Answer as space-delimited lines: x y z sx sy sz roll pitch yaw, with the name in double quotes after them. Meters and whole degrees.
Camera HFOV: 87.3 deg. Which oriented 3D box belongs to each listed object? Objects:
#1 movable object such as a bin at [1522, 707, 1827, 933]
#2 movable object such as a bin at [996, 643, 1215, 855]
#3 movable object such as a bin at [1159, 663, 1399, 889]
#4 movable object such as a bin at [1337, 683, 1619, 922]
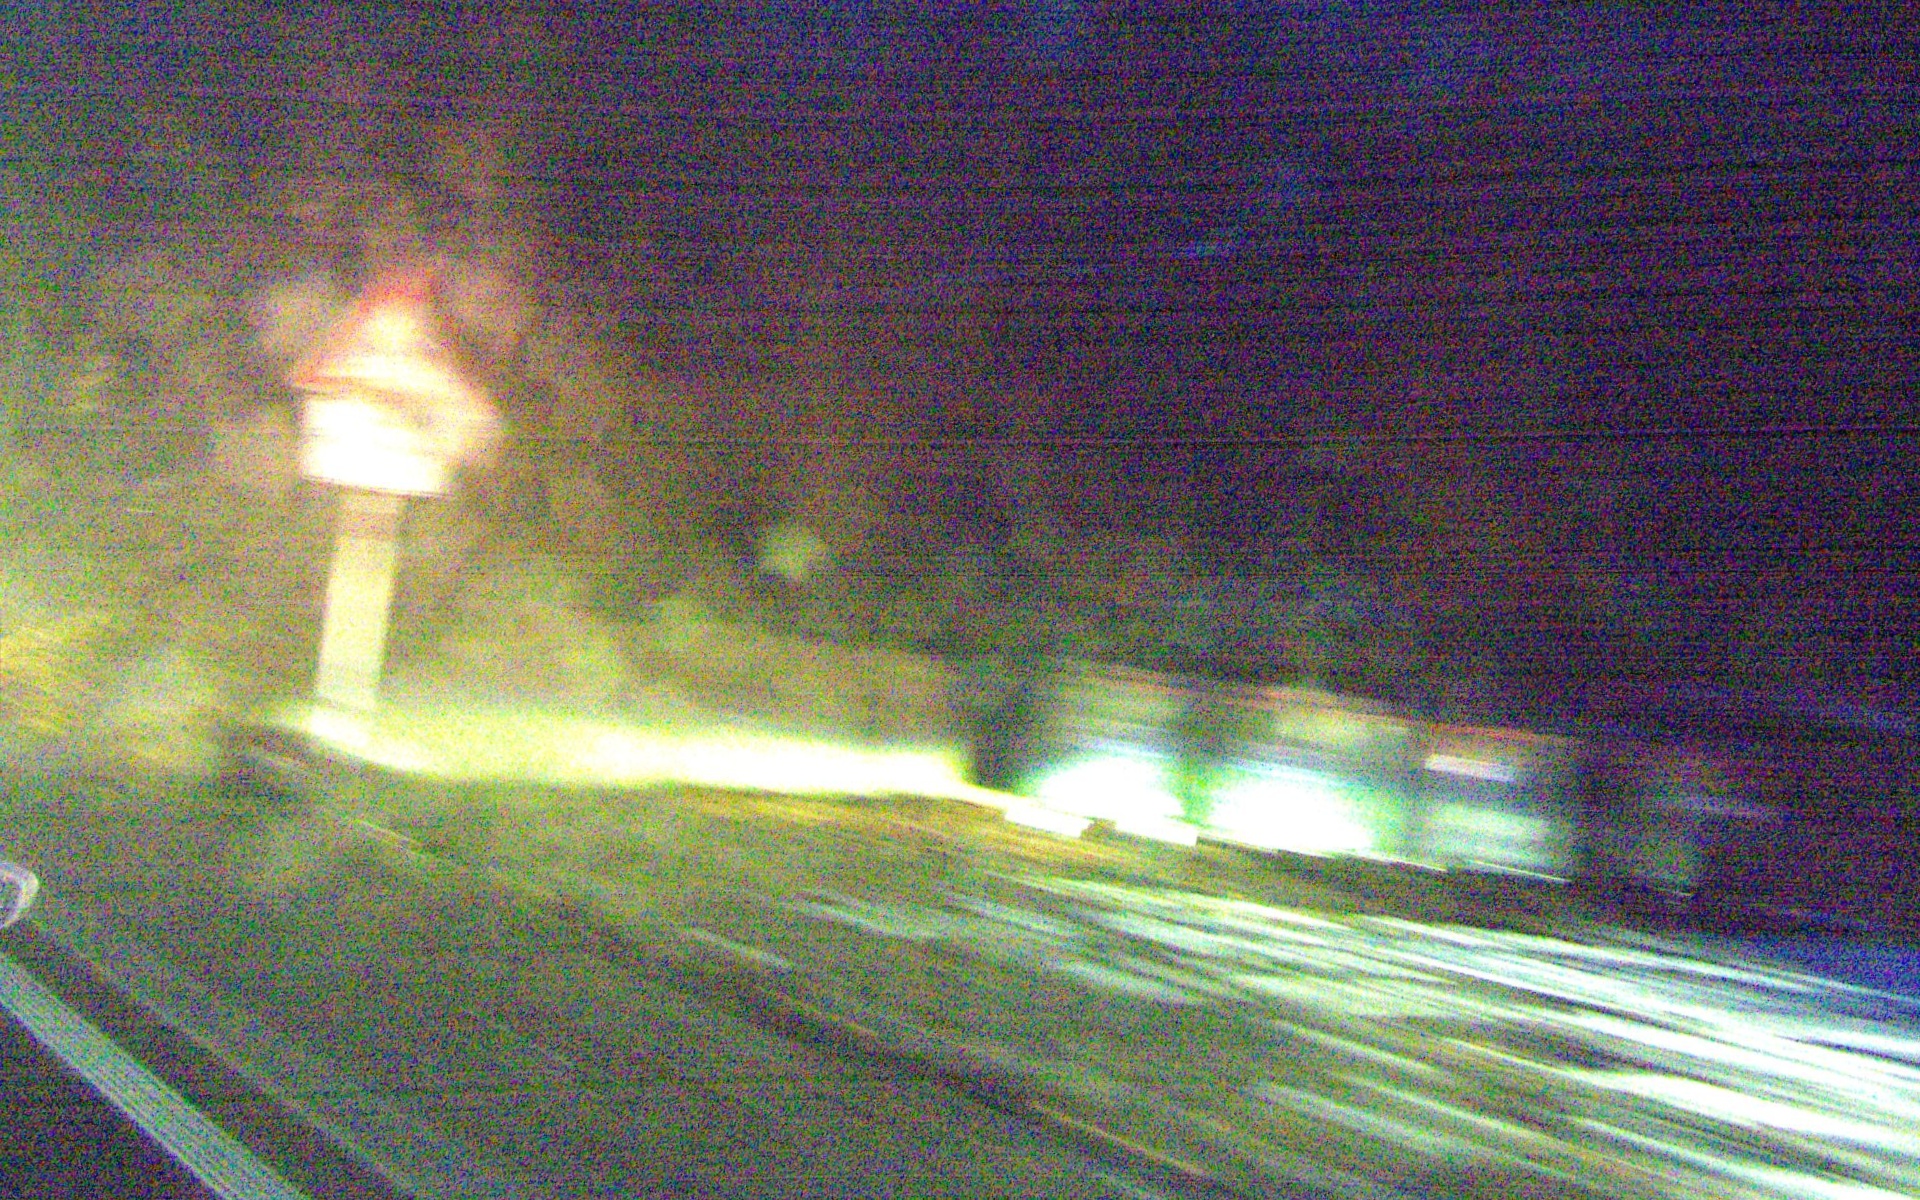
5.229 1.568 7.501 1.293 1.314 1.252 5 -1 2 "movable object such as a bin"
1.070 1.099 7.784 1.299 1.325 1.175 7 0 -5 "movable object such as a bin"
2.283 1.234 7.398 1.210 1.341 1.153 7 0 -3 "movable object such as a bin"
3.769 1.432 7.500 1.365 1.430 1.251 5 -1 2 "movable object such as a bin"
